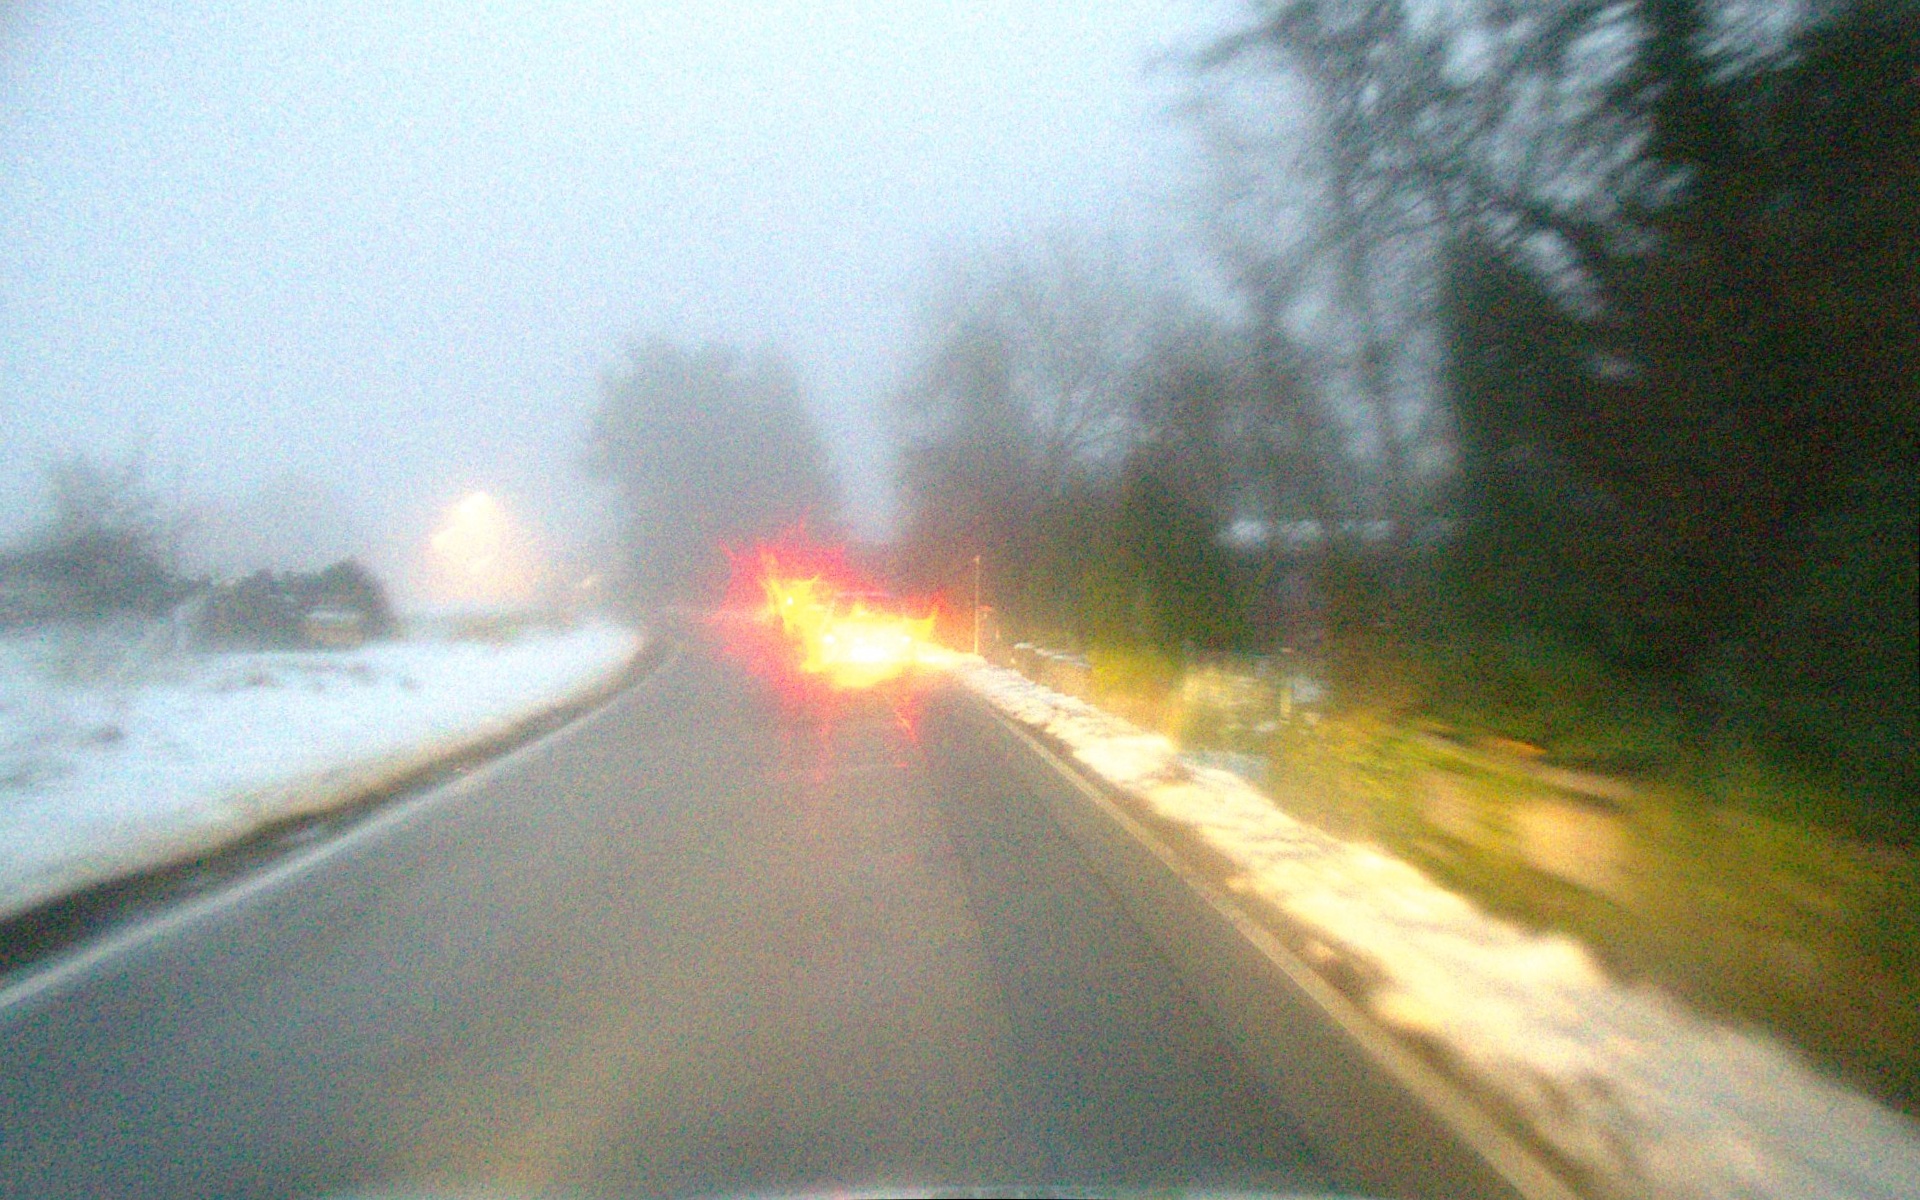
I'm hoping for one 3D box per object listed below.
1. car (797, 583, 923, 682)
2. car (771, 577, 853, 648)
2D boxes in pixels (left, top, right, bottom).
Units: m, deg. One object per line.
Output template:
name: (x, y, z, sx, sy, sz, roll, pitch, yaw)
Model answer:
car: (-1.608, 0.522, 27.957, 1.953, 1.534, 3.999, 1, 0, -1)
car: (-3.894, 0.318, 43.987, 1.953, 1.780, 3.998, 1, 0, -2)
